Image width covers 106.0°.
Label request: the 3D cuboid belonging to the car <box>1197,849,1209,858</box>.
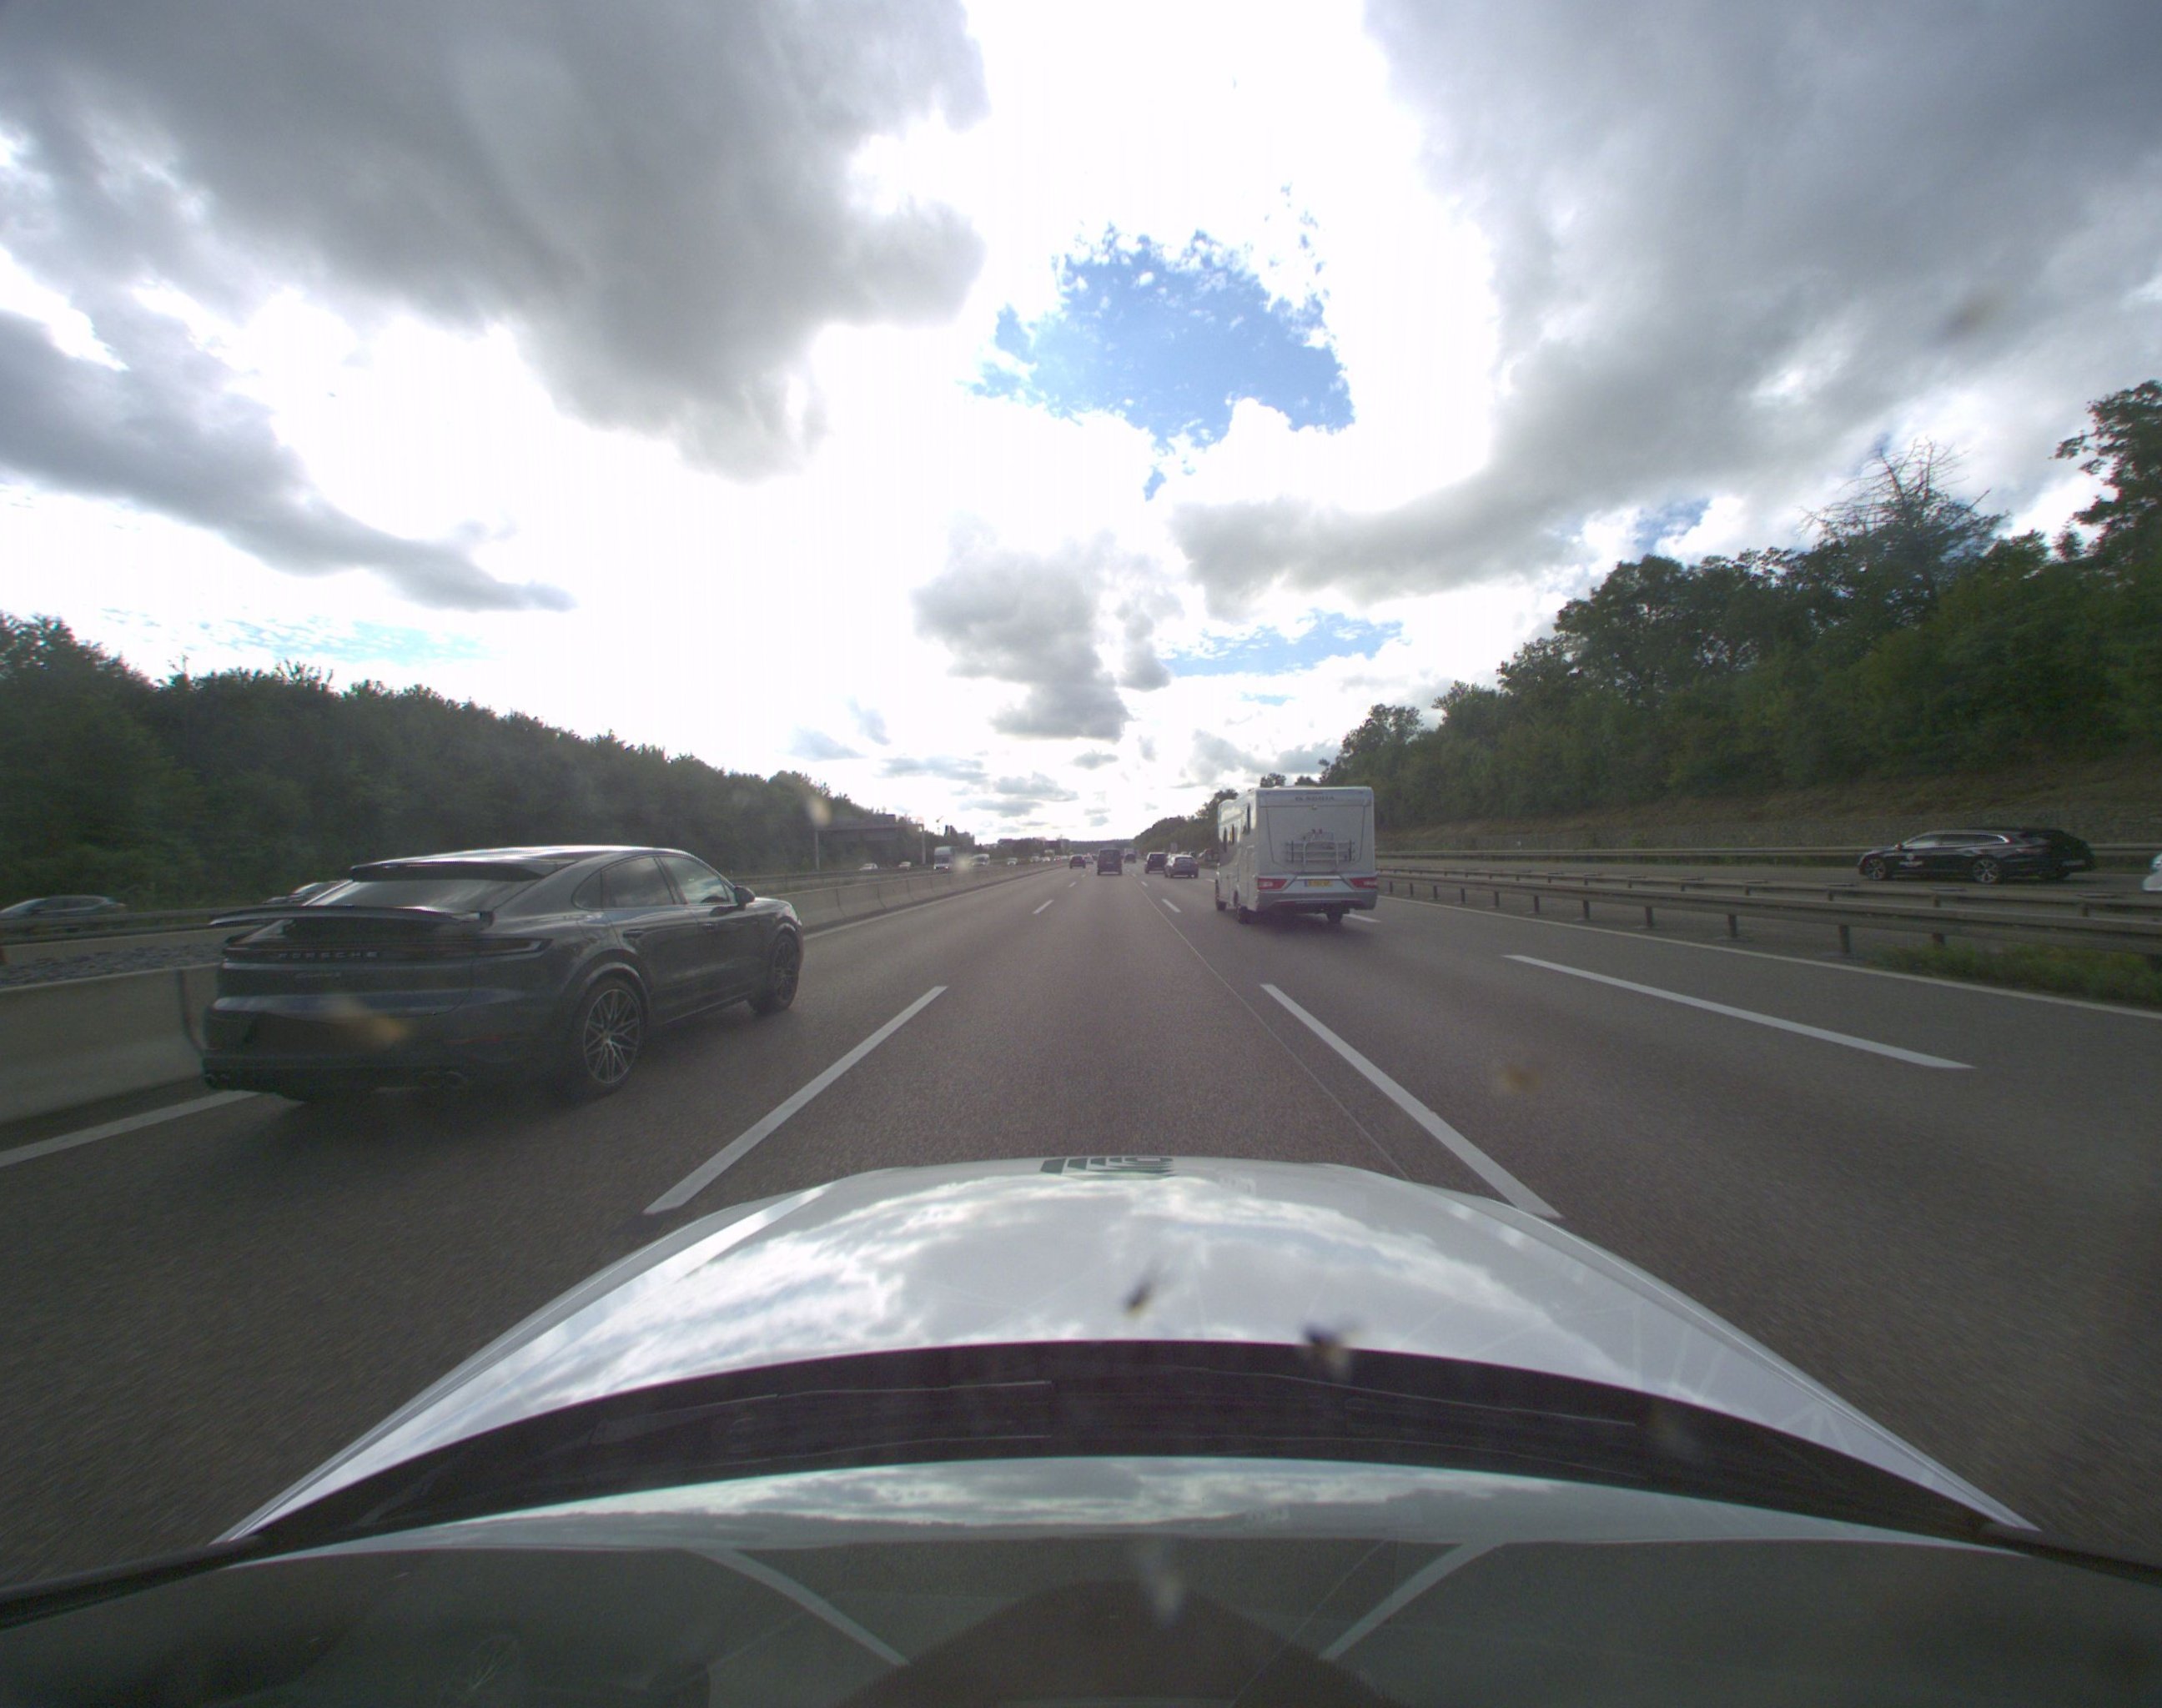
[{"bbox_3d":[21.580,-0.032,144.098,1.590,1.546,4.190,-1,0,0],"label":"car"}]

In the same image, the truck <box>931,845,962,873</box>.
[{"bbox_3d":[-16.797,0.575,102.346,2.345,3.263,7.828,-2,0,1],"label":"truck"}]

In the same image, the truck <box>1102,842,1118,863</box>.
[{"bbox_3d":[6.094,-0.251,172.770,3.250,4.375,11.030,-1,0,2],"label":"truck"}]

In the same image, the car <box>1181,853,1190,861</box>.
[{"bbox_3d":[23.269,0.748,181.401,1.745,1.695,4.192,-1,0,2],"label":"car"}]

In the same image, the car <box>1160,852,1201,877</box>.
[{"bbox_3d":[6.297,0.643,51.905,1.718,1.479,4.384,-1,0,-5],"label":"car"}]

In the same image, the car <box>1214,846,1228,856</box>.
[{"bbox_3d":[25.033,-0.556,145.913,1.723,1.546,4.305,-4,0,0],"label":"car"}]

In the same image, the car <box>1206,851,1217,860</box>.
[{"bbox_3d":[27.009,0.297,168.456,1.590,1.804,3.825,-1,0,0],"label":"car"}]

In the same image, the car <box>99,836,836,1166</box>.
[{"bbox_3d":[-3.944,0.748,6.881,1.905,1.636,5.502,-1,0,2],"label":"car"}]

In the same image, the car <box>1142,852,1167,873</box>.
[{"bbox_3d":[5.834,0.657,64.740,1.691,1.564,4.115,-2,0,1],"label":"car"}]

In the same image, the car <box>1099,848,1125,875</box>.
[{"bbox_3d":[2.317,0.567,61.548,1.848,1.910,4.261,-1,0,2],"label":"car"}]

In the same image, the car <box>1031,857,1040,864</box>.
[{"bbox_3d":[-10.051,1.412,179.991,1.558,1.365,4.053,-2,0,1],"label":"car"}]

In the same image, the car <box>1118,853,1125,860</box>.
[{"bbox_3d":[10.591,0.716,214.283,1.745,1.695,4.192,-1,0,2],"label":"car"}]

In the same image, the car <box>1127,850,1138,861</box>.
[{"bbox_3d":[9.164,0.296,144.994,1.906,1.919,4.032,-1,0,2],"label":"car"}]

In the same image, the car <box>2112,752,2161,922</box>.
[{"bbox_3d":[17.168,-0.285,9.399,2.062,2.554,6.745,-2,0,2],"label":"car"}]

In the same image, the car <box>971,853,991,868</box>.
[{"bbox_3d":[-15.897,1.065,130.026,2.156,2.271,6.462,-2,0,1],"label":"car"}]

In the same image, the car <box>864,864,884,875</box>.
[{"bbox_3d":[-29.140,2.172,114.729,1.558,1.365,4.052,-2,0,1],"label":"car"}]

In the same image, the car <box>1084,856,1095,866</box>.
[{"bbox_3d":[1.385,1.102,134.809,1.691,1.611,4.115,-2,0,1],"label":"car"}]

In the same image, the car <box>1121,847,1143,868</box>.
[{"bbox_3d":[4.420,0.276,70.520,1.714,1.724,4.393,-1,0,2],"label":"car"}]

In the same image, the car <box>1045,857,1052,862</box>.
[{"bbox_3d":[-8.421,1.426,212.719,1.558,1.365,4.053,-2,0,1],"label":"car"}]

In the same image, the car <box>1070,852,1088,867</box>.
[{"bbox_3d":[-0.234,0.641,95.743,1.866,1.698,4.073,-2,0,2],"label":"car"}]

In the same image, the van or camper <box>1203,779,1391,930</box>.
[{"bbox_3d":[4.504,0.003,18.641,2.459,2.722,7.664,-1,0,2],"label":"van or camper"}]

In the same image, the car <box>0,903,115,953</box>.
[{"bbox_3d":[-35.874,2.530,27.517,1.497,1.427,4.110,-2,0,1],"label":"car"}]

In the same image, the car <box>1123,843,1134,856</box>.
[{"bbox_3d":[8.914,-0.908,151.969,1.866,2.357,4.283,-1,0,2],"label":"car"}]

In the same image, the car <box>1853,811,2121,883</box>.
[{"bbox_3d":[23.759,-0.173,21.718,1.837,1.602,4.765,-4,0,1],"label":"car"}]

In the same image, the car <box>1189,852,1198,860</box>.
[{"bbox_3d":[27.342,0.469,197.778,1.745,1.695,4.192,-1,0,2],"label":"car"}]

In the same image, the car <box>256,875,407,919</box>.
[{"bbox_3d":[-32.506,1.801,35.571,1.985,1.592,4.771,-2,0,3],"label":"car"}]

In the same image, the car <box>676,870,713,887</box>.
[{"bbox_3d":[-38.729,2.434,81.704,1.586,1.494,4.181,-2,0,1],"label":"car"}]
